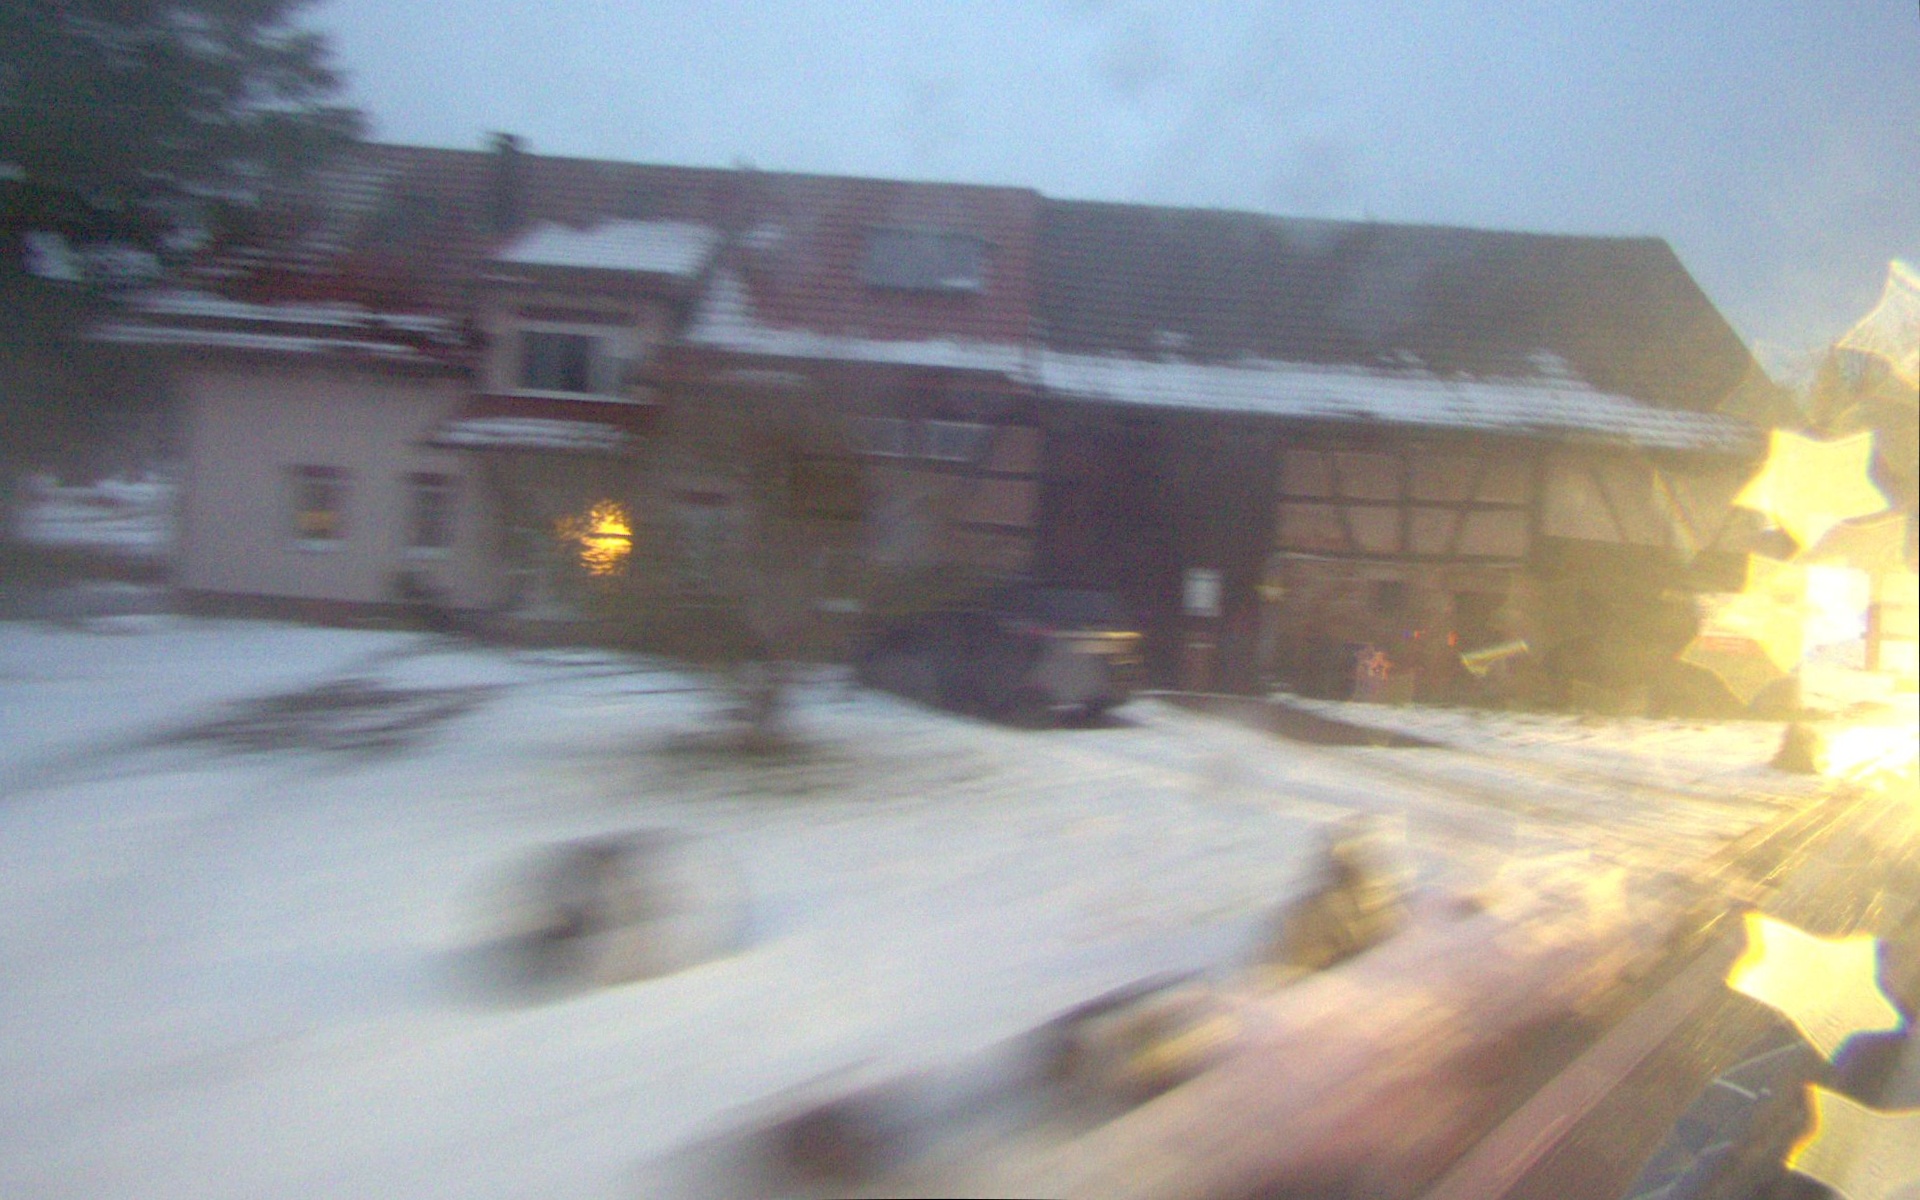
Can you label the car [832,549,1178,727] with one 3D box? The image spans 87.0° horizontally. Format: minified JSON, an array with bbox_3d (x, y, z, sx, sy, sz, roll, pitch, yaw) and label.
[{"bbox_3d":[0.298,0.291,11.958,1.825,1.677,4.414,2,2,-32],"label":"car"}]
